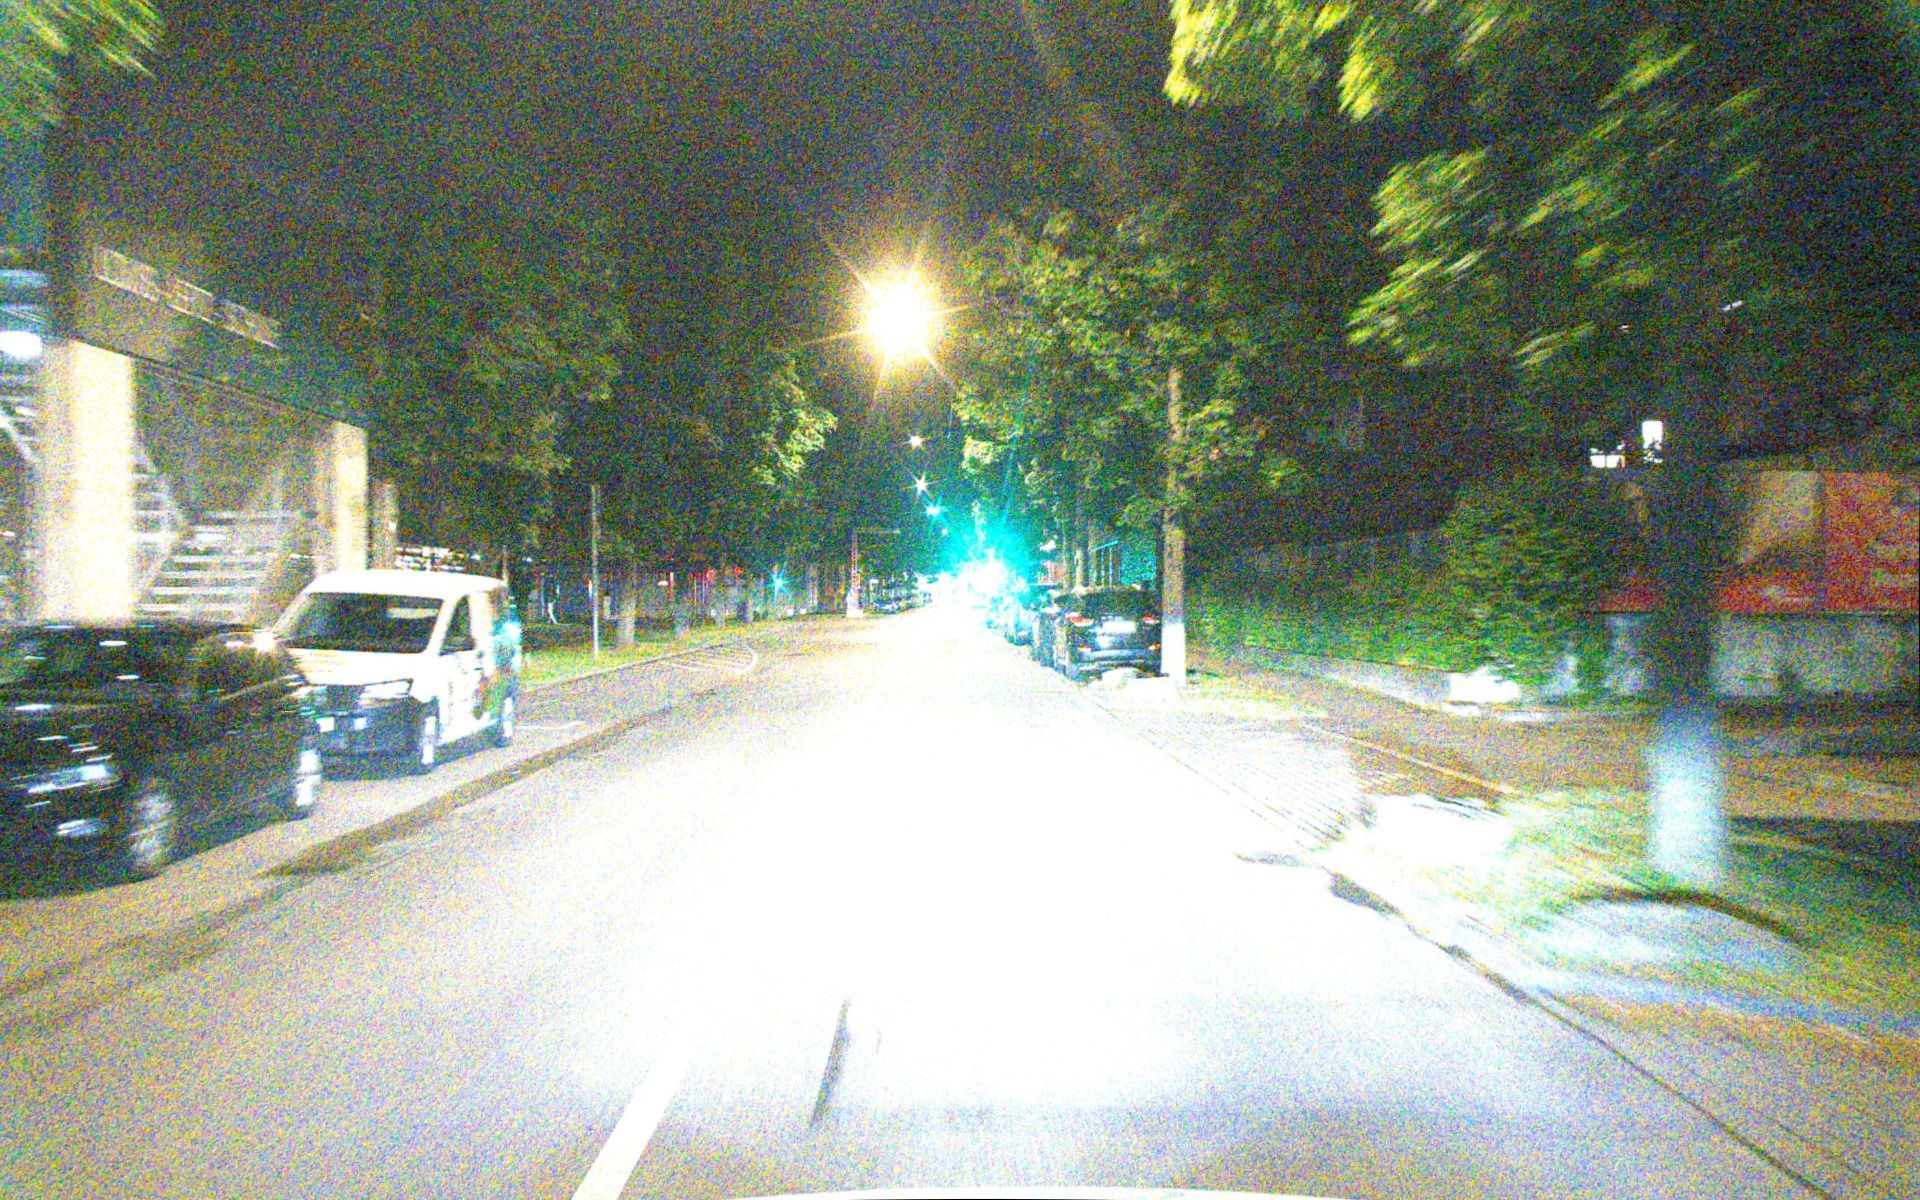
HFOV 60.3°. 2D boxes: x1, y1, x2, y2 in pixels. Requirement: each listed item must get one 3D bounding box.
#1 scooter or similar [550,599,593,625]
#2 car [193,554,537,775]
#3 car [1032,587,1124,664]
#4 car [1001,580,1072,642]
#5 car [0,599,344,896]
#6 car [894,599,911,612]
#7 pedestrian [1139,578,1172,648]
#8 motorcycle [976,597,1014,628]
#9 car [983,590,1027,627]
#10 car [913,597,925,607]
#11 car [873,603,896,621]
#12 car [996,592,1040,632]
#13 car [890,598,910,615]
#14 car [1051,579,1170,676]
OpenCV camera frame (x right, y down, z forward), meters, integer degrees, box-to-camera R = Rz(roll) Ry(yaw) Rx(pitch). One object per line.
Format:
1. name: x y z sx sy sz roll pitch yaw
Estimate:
1. scooter or similar: -16.567 0.492 70.525 1.639 1.025 0.544 3 0 1
2. car: -5.644 0.552 16.297 1.785 1.843 4.210 2 0 0
3. car: 2.593 0.523 37.111 1.815 1.632 4.209 0 0 1
4. car: 2.350 0.329 51.585 1.736 1.838 4.274 -1 0 -3
5. car: -5.432 0.765 10.457 1.666 1.458 3.827 2 0 -2
6. car: -6.329 0.623 182.361 1.705 1.440 3.751 1 0 -1
7. pedestrian: 4.995 0.331 42.286 0.691 1.752 0.821 -1 0 -1
8. motorcycle: 1.520 0.549 71.697 0.625 1.292 2.058 0 0 34
9. car: 2.033 0.377 75.695 1.815 1.618 4.299 0 0 -1
10. car: -5.892 0.325 238.354 1.705 1.440 3.751 1 0 -1
11. car: -6.334 0.984 139.066 1.705 1.440 3.751 1 0 -1
12. car: 2.383 0.471 68.422 1.559 1.561 4.137 -1 0 -1
13. car: -5.582 0.596 153.921 1.705 1.440 3.752 1 1 -1
14. car: 2.790 0.480 31.442 1.815 1.683 4.208 -1 0 0
